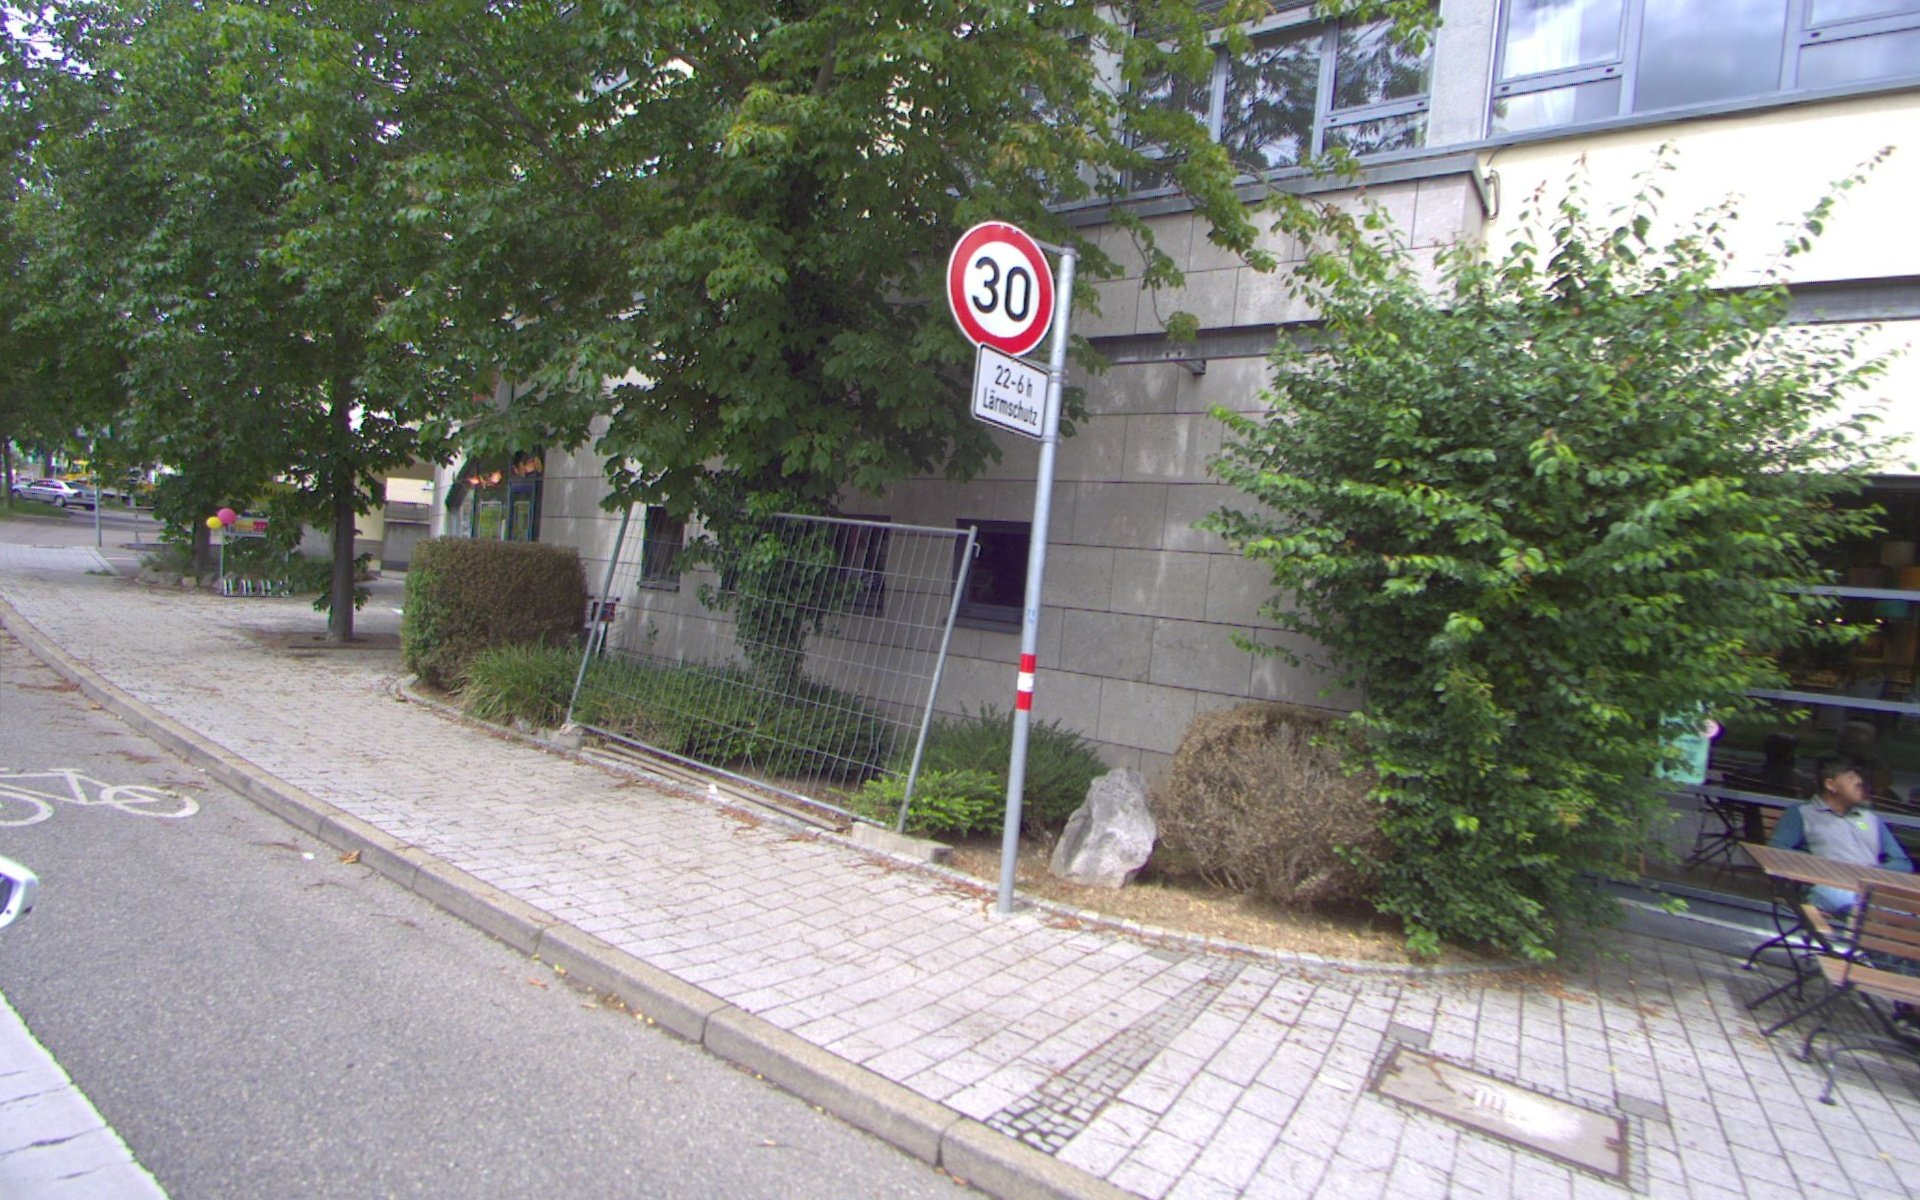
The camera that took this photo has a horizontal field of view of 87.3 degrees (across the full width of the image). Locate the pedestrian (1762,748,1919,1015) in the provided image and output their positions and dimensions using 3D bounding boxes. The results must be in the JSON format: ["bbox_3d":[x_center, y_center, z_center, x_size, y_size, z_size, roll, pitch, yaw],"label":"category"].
[{"bbox_3d":[4.635,1.421,5.214,0.492,1.196,0.523,6,1,18],"label":"pedestrian"}]

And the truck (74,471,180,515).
[{"bbox_3d":[-55.950,-7.145,67.710,2.049,2.038,5.617,6,0,4],"label":"truck"}]

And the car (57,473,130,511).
[{"bbox_3d":[-60.386,-7.491,70.212,1.710,2.039,3.767,6,0,0],"label":"car"}]
